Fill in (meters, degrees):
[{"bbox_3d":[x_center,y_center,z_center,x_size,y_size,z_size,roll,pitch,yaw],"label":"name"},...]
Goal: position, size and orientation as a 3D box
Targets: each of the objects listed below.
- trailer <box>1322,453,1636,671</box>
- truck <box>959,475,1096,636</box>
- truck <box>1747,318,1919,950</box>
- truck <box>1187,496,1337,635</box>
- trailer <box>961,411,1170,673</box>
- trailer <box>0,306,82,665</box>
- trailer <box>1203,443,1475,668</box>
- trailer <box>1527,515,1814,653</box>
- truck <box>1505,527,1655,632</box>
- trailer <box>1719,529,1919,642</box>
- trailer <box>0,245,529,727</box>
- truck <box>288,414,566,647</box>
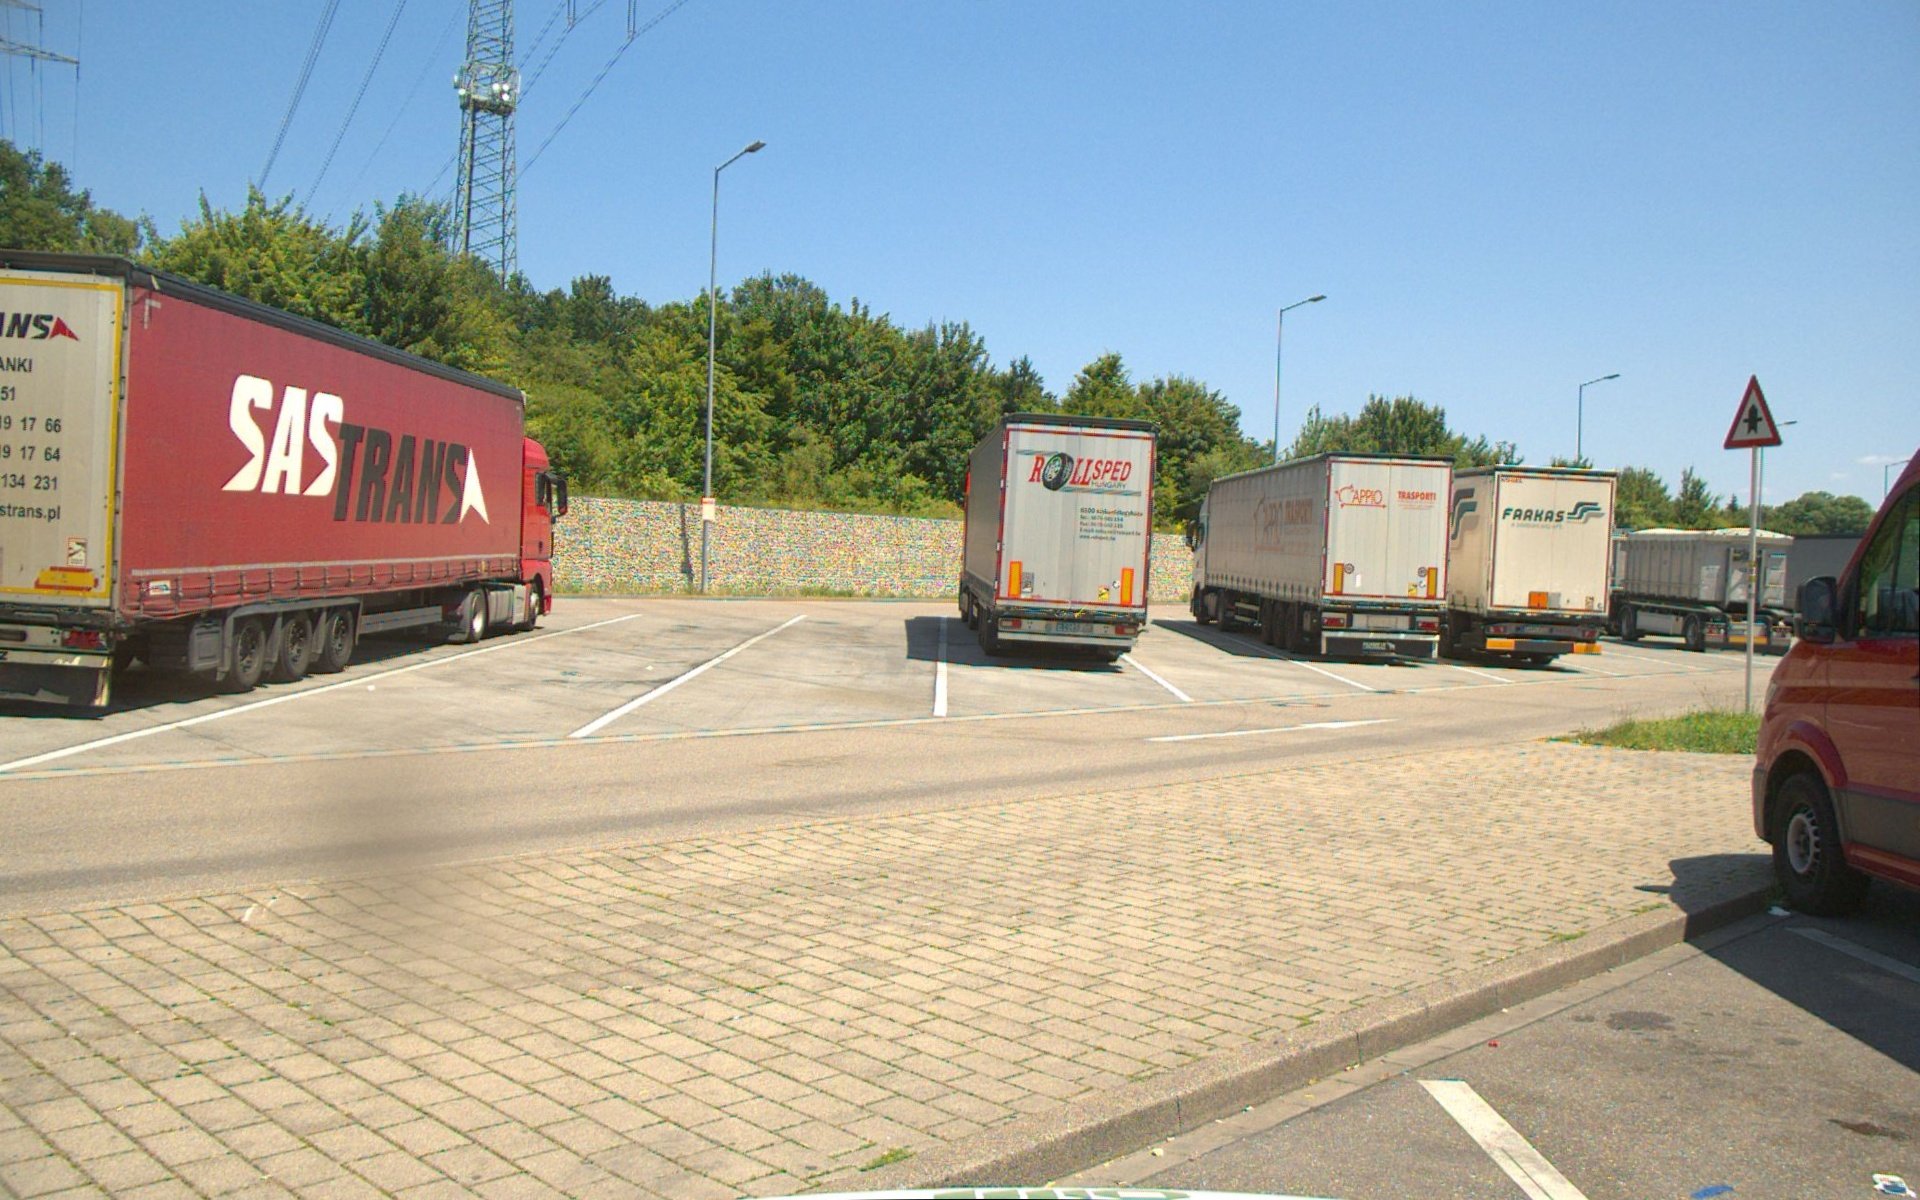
[{"bbox_3d":[11.770,-0.987,39.568,2.800,4.180,13.762,2,2,-1],"label":"trailer"},{"bbox_3d":[1.475,-1.085,39.348,2.808,3.421,5.974,2,2,-1],"label":"truck"},{"bbox_3d":[4.994,0.157,5.519,1.969,2.697,6.457,1,0,3],"label":"truck"},{"bbox_3d":[8.127,-0.979,45.266,2.808,3.421,5.974,2,2,-1],"label":"truck"},{"bbox_3d":[1.676,-1.170,33.151,2.800,4.040,13.761,2,2,-2],"label":"trailer"},{"bbox_3d":[-12.487,-1.253,15.796,2.651,4.173,10.389,2,2,-1],"label":"trailer"},{"bbox_3d":[8.250,-1.097,38.504,2.800,4.180,13.762,2,2,-1],"label":"trailer"},{"bbox_3d":[21.836,-0.677,52.247,2.800,3.662,13.762,2,2,-1],"label":"trailer"},{"bbox_3d":[21.738,-0.790,58.343,2.808,3.421,5.974,2,2,-1],"label":"truck"},{"bbox_3d":[34.788,-0.706,65.447,2.800,3.972,13.762,2,2,-1],"label":"trailer"},{"bbox_3d":[-8.690,-1.265,21.253,2.764,4.141,13.763,2,2,-1],"label":"trailer"},{"bbox_3d":[-8.799,-1.156,28.069,2.755,3.421,5.974,2,2,-1],"label":"truck"}]
